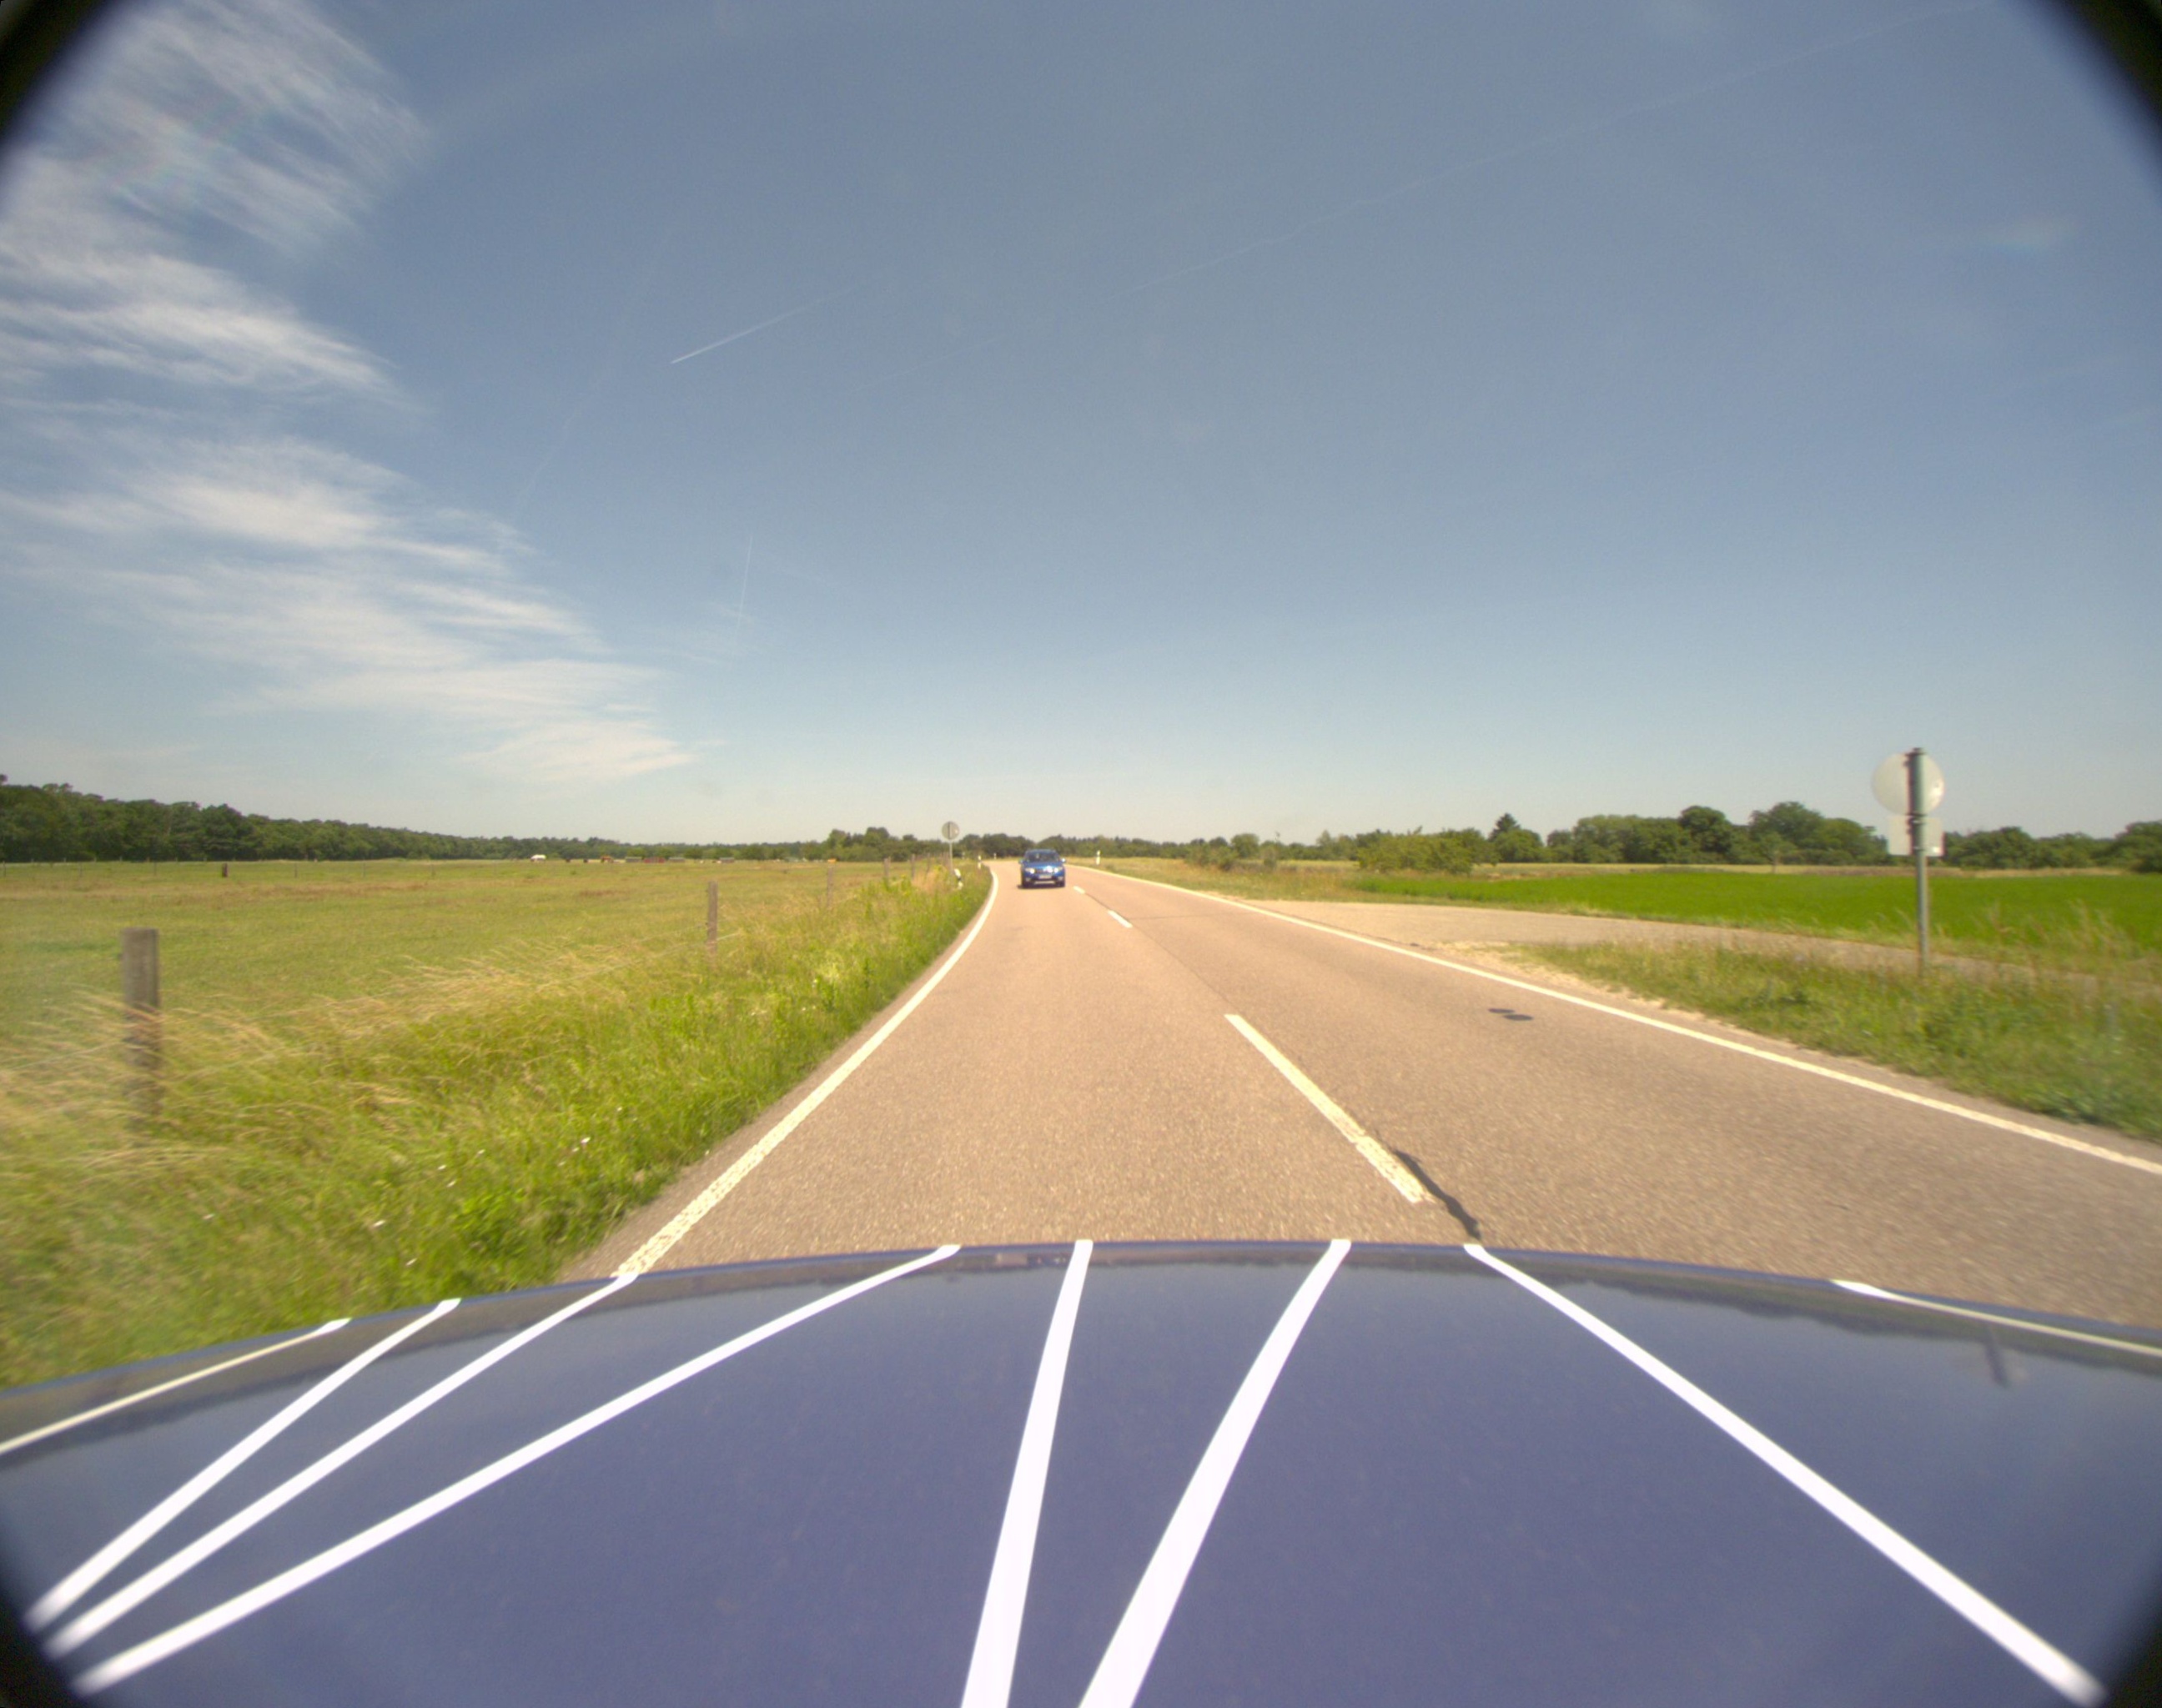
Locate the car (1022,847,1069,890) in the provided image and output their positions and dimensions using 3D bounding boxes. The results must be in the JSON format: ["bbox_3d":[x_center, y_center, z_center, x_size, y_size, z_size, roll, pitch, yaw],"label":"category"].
[{"bbox_3d":[-1.562,0.556,32.198,1.735,1.572,3.997,-2,2,-5],"label":"car"}]
